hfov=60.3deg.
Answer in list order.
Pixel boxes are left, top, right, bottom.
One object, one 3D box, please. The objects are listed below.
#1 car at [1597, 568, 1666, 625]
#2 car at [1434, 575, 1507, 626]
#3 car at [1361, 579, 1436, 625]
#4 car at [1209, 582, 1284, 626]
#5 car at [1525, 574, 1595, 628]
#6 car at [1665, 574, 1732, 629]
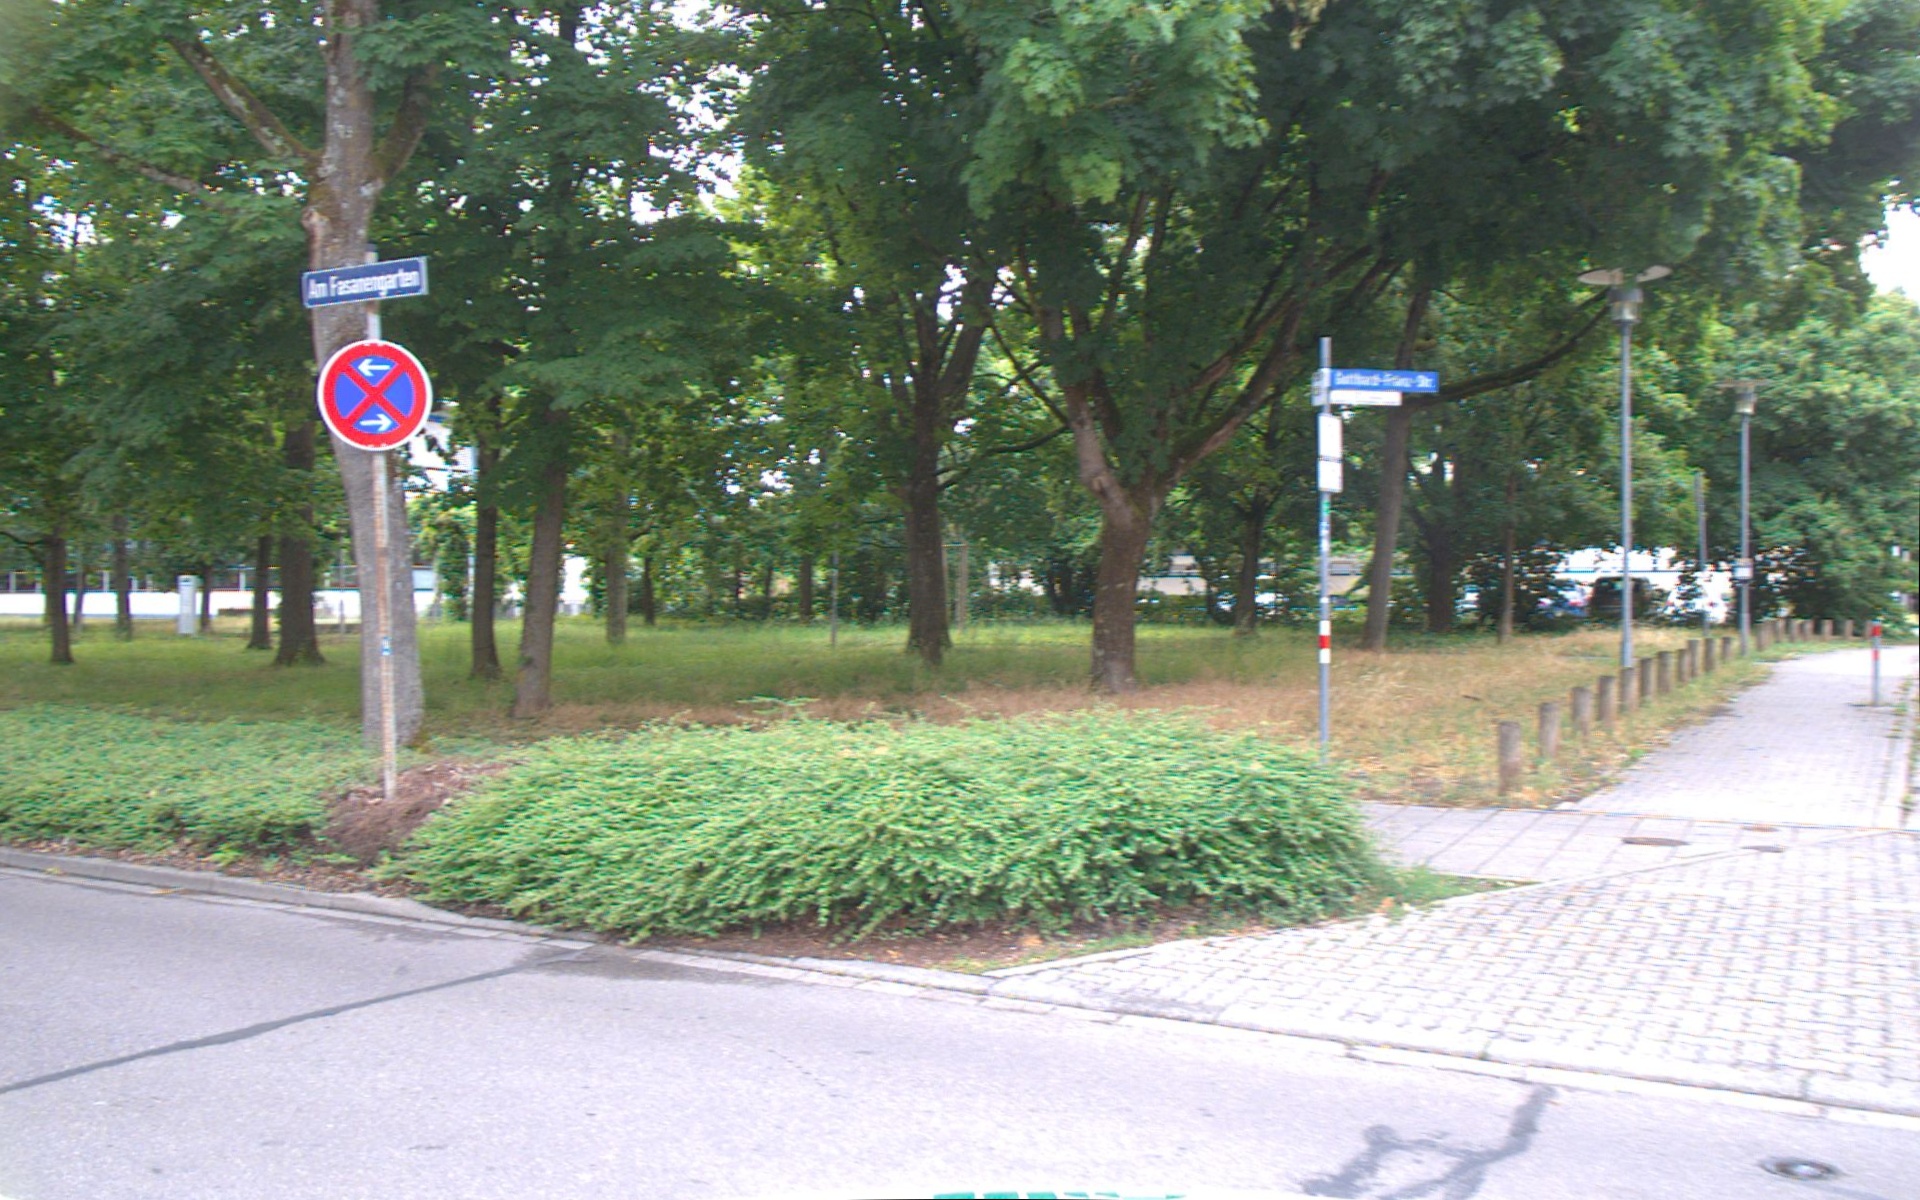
[{"bbox_3d":[23.460,-0.090,57.735,1.954,1.915,3.996,0,-1,26],"label":"car"},{"bbox_3d":[18.595,0.059,60.112,1.954,1.758,3.996,0,-2,26],"label":"car"},{"bbox_3d":[16.338,0.057,61.546,1.954,1.646,3.996,0,0,26],"label":"car"},{"bbox_3d":[11.304,0.146,64.992,1.880,1.646,3.996,0,0,26],"label":"car"},{"bbox_3d":[21.372,0.067,58.828,1.954,1.825,3.996,0,-2,26],"label":"car"},{"bbox_3d":[25.271,0.077,56.560,1.954,1.793,3.996,0,-1,26],"label":"car"}]
